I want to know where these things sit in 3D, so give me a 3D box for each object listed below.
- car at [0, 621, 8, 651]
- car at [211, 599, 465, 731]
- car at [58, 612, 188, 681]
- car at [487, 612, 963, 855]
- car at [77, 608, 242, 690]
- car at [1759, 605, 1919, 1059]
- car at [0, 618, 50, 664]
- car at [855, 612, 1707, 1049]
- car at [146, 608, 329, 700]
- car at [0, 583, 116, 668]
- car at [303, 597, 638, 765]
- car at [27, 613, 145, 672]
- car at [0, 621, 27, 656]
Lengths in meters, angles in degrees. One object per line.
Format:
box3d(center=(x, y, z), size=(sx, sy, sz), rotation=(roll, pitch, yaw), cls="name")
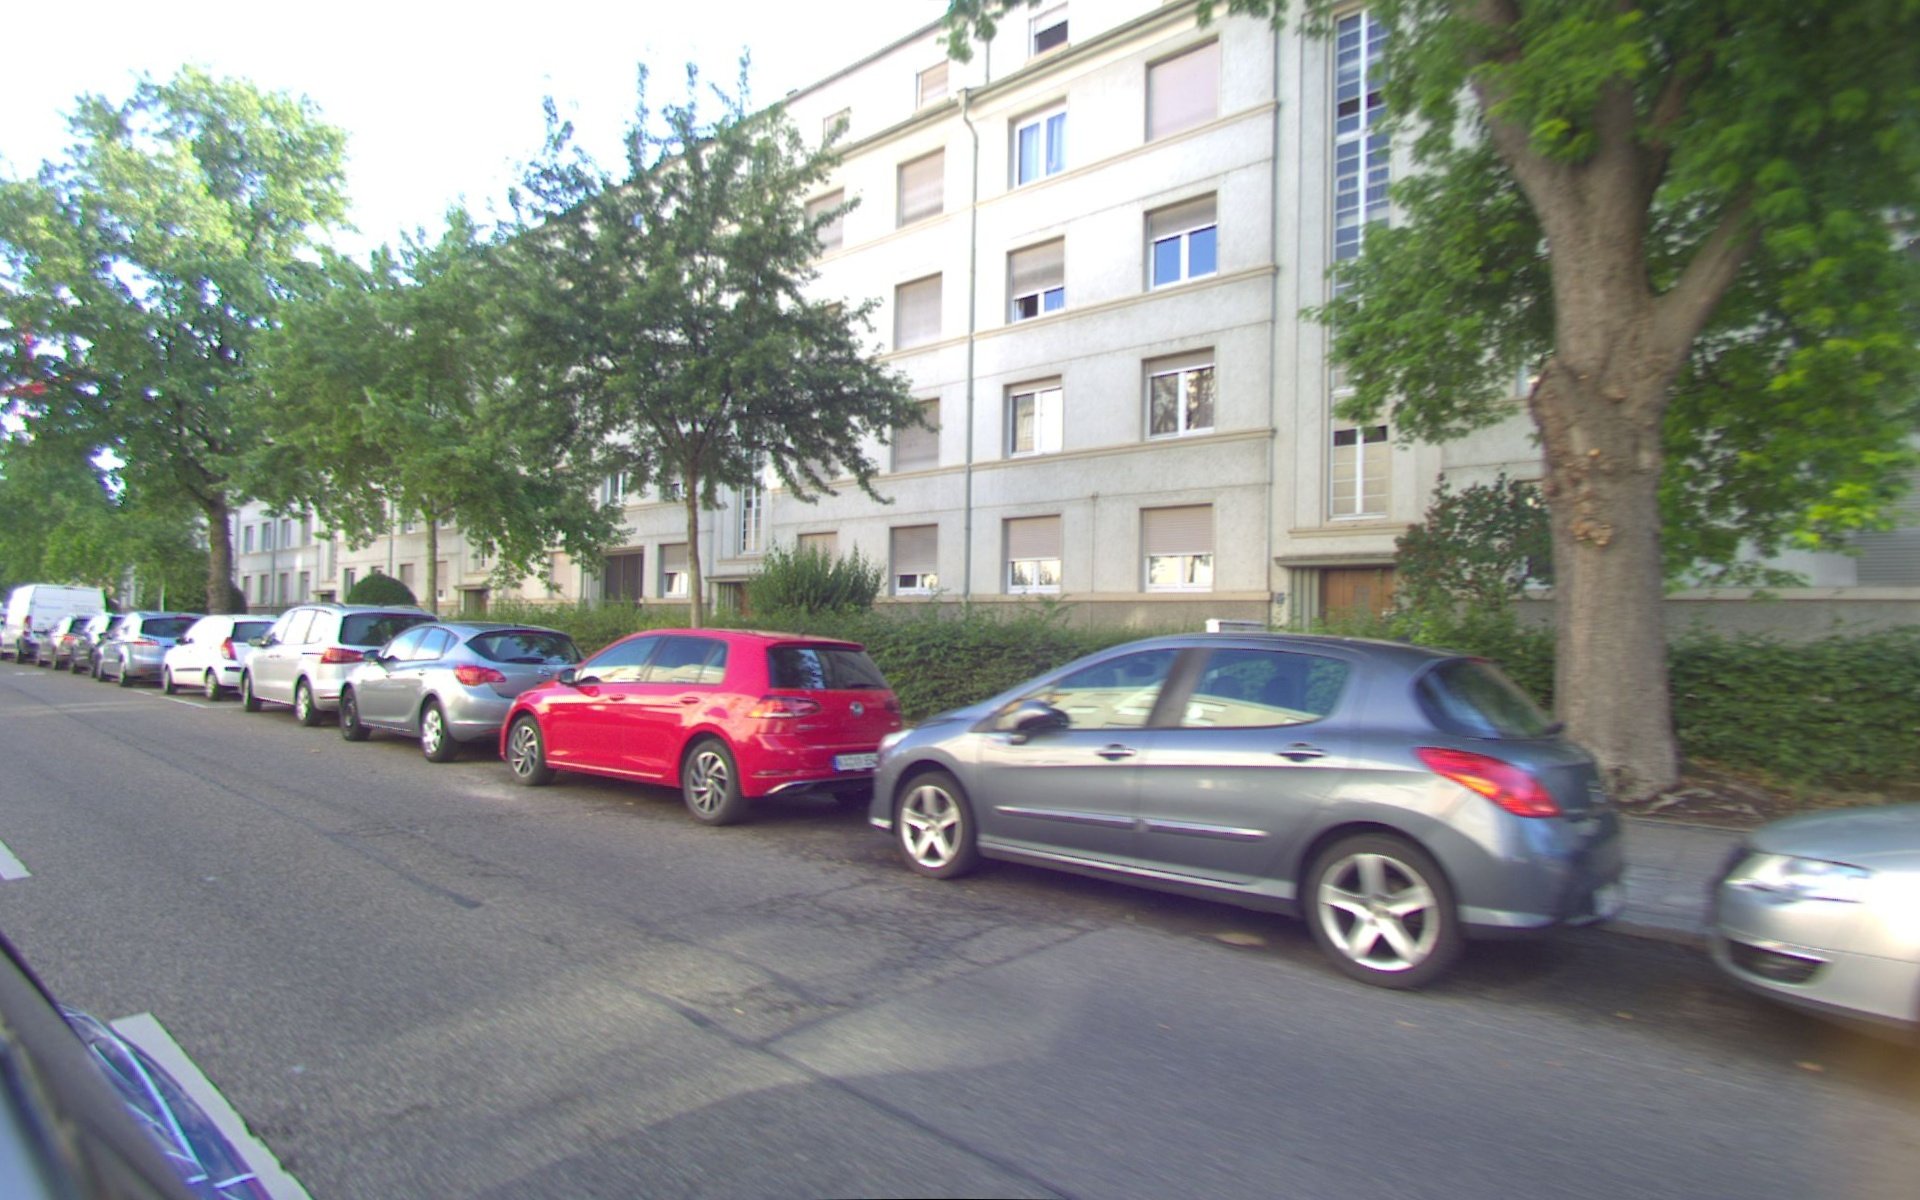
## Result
box3d(center=(-47.419, 1.706, 48.687), size=(3.996, 1.365, 1.855), rotation=(0, 0, 39), cls="car")
box3d(center=(-9.619, 0.850, 15.464), size=(4.971, 1.690, 1.896), rotation=(0, -1, 41), cls="car")
box3d(center=(-22.049, 1.199, 26.603), size=(4.363, 1.570, 1.851), rotation=(0, -4, 41), cls="car")
box3d(center=(-2.134, 0.950, 8.711), size=(3.995, 1.570, 1.853), rotation=(0, -3, 38), cls="car")
box3d(center=(-17.973, 1.090, 22.630), size=(5.053, 1.570, 1.851), rotation=(-1, -7, 41), cls="car")
box3d(center=(4.973, 0.718, 2.480), size=(4.707, 1.362, 1.751), rotation=(0, 0, 40), cls="car")
box3d(center=(-35.002, 1.473, 37.444), size=(1.687, 1.586, 3.821), rotation=(5, -4, -45), cls="car")
box3d(center=(1.453, 0.826, 5.525), size=(4.127, 1.450, 1.686), rotation=(0, 0, 41), cls="car")
box3d(center=(-13.858, 1.000, 19.340), size=(4.099, 1.570, 1.851), rotation=(-1, -4, 41), cls="car")
box3d(center=(-30.430, 0.818, 33.757), size=(6.162, 2.464, 2.334), rotation=(0, -6, 41), cls="car")
box3d(center=(-5.766, 0.857, 11.673), size=(4.494, 1.570, 1.851), rotation=(-3, -3, 41), cls="car")
box3d(center=(-25.742, 1.227, 29.769), size=(4.343, 1.570, 1.937), rotation=(0, -3, 41), cls="car")
box3d(center=(-42.941, 1.726, 44.692), size=(4.649, 1.365, 1.855), rotation=(0, 4, 39), cls="car")
